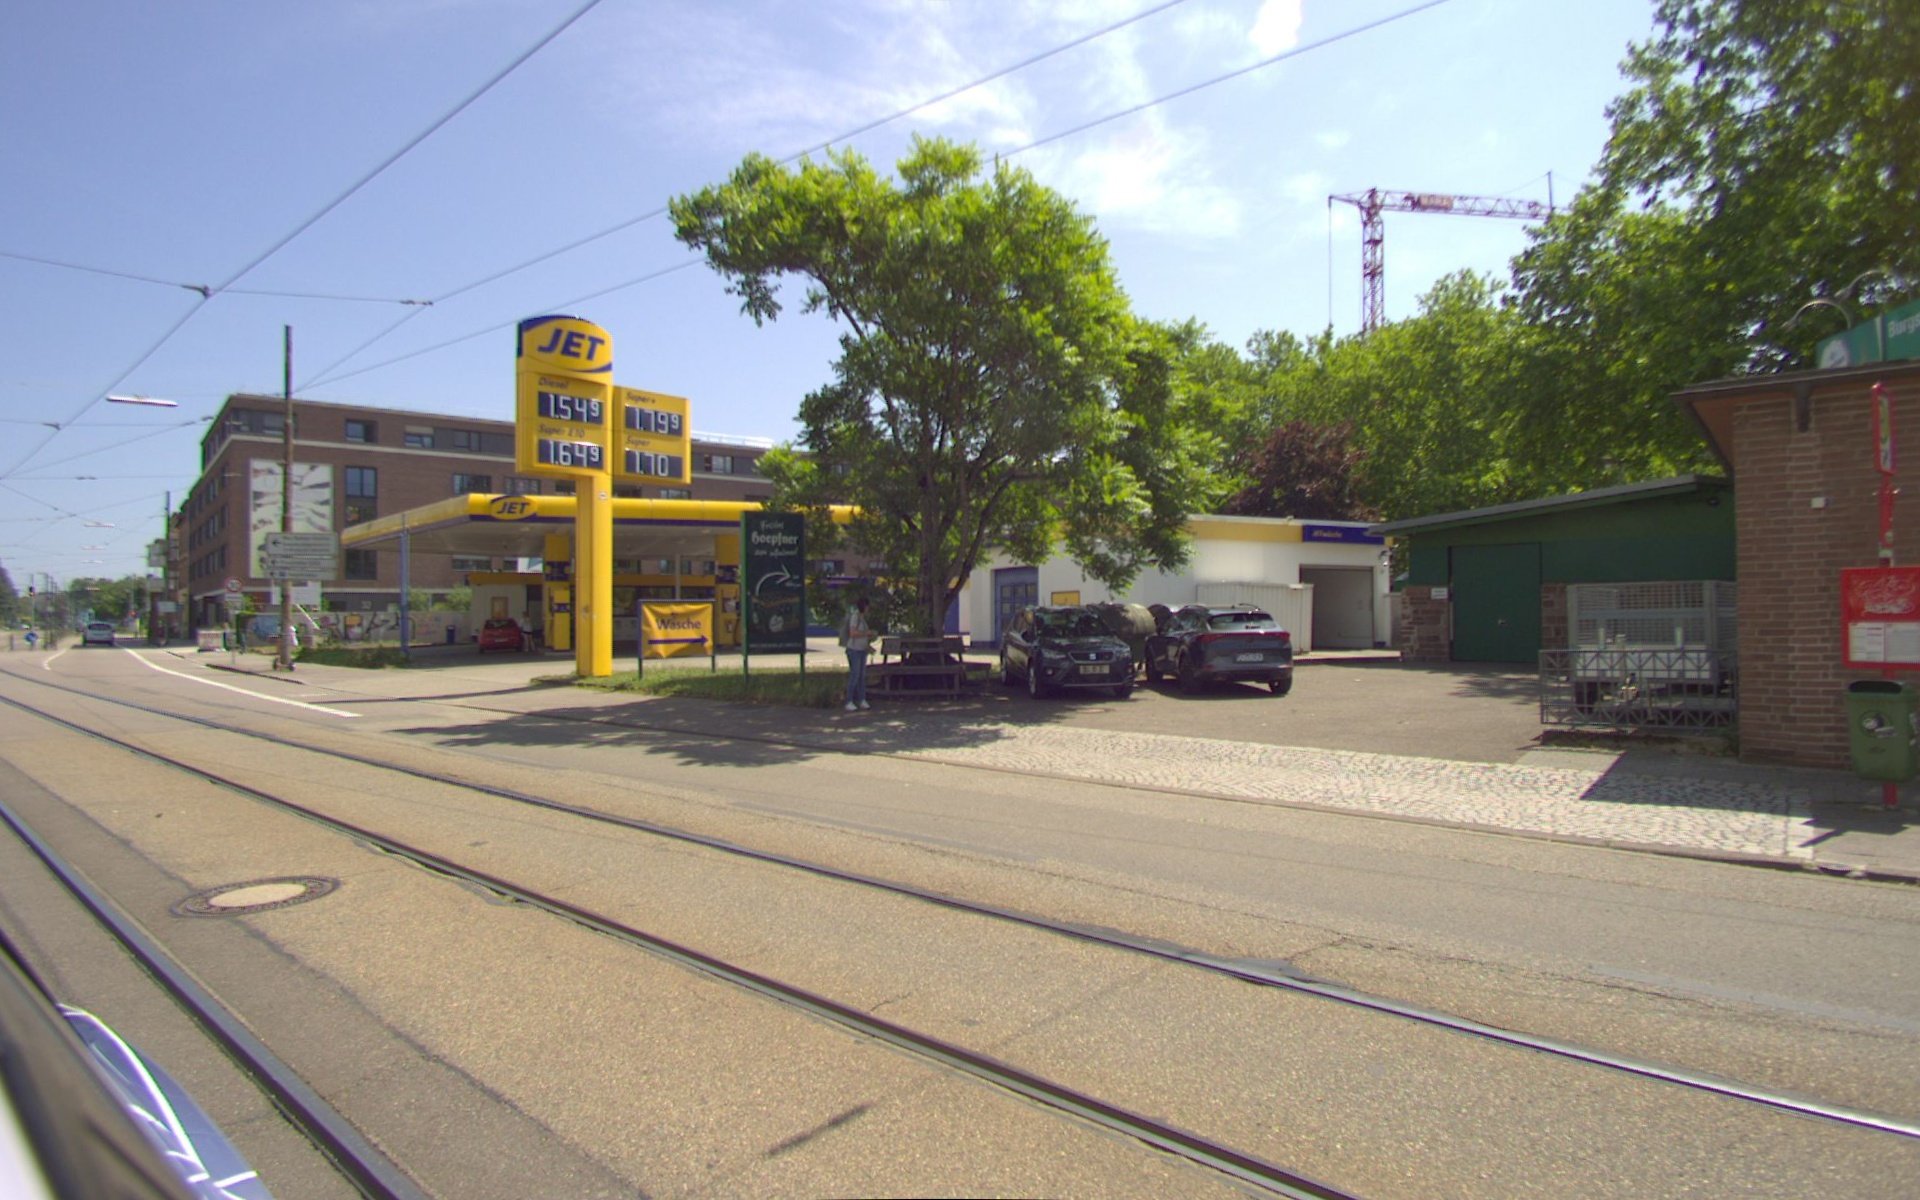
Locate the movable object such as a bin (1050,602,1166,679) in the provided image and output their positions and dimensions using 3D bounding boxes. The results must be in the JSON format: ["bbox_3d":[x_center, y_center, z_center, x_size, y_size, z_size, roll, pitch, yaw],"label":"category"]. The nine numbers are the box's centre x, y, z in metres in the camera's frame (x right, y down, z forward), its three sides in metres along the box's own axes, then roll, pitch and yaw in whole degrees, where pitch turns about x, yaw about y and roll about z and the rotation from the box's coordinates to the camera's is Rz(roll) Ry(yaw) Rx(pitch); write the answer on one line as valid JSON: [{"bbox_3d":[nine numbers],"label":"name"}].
[{"bbox_3d":[3.135,0.842,21.698,1.499,1.521,2.106,-1,0,-24],"label":"movable object such as a bin"}]

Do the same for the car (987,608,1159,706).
[{"bbox_3d":[1.837,0.912,18.067,1.904,1.500,4.460,0,-1,-9],"label":"car"}]

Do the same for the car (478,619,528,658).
[{"bbox_3d":[-19.459,1.643,42.969,1.800,1.516,4.212,-2,-1,-26],"label":"car"}]

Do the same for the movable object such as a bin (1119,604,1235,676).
[{"bbox_3d":[4.731,0.851,22.285,1.499,1.443,2.106,-1,0,-24],"label":"movable object such as a bin"}]

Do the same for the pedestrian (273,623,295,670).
[{"bbox_3d":[-24.957,1.698,37.361,0.616,1.704,0.724,0,-2,-36],"label":"pedestrian"}]

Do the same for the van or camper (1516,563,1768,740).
[{"bbox_3d":[7.788,0.488,11.415,1.870,1.641,3.745,-3,-1,41],"label":"van or camper"}]

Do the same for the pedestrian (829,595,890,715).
[{"bbox_3d":[-1.547,0.829,15.551,0.698,1.789,0.574,-2,-1,38],"label":"pedestrian"}]

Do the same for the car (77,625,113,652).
[{"bbox_3d":[-65.131,2.864,76.193,1.969,1.813,4.560,-1,0,-41],"label":"car"}]

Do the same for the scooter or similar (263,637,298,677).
[{"bbox_3d":[-21.561,1.791,32.093,1.375,1.209,0.513,-2,-1,39],"label":"scooter or similar"}]

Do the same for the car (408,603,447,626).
[{"bbox_3d":[-36.293,1.012,68.917,1.709,1.479,4.009,-1,-1,-37],"label":"car"}]

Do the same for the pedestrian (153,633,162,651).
[{"bbox_3d":[-72.319,3.754,91.218,0.596,1.608,0.716,1,-2,-43],"label":"pedestrian"}]

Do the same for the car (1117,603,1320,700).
[{"bbox_3d":[4.503,0.843,18.420,1.904,1.500,4.460,-2,0,-9],"label":"car"}]
